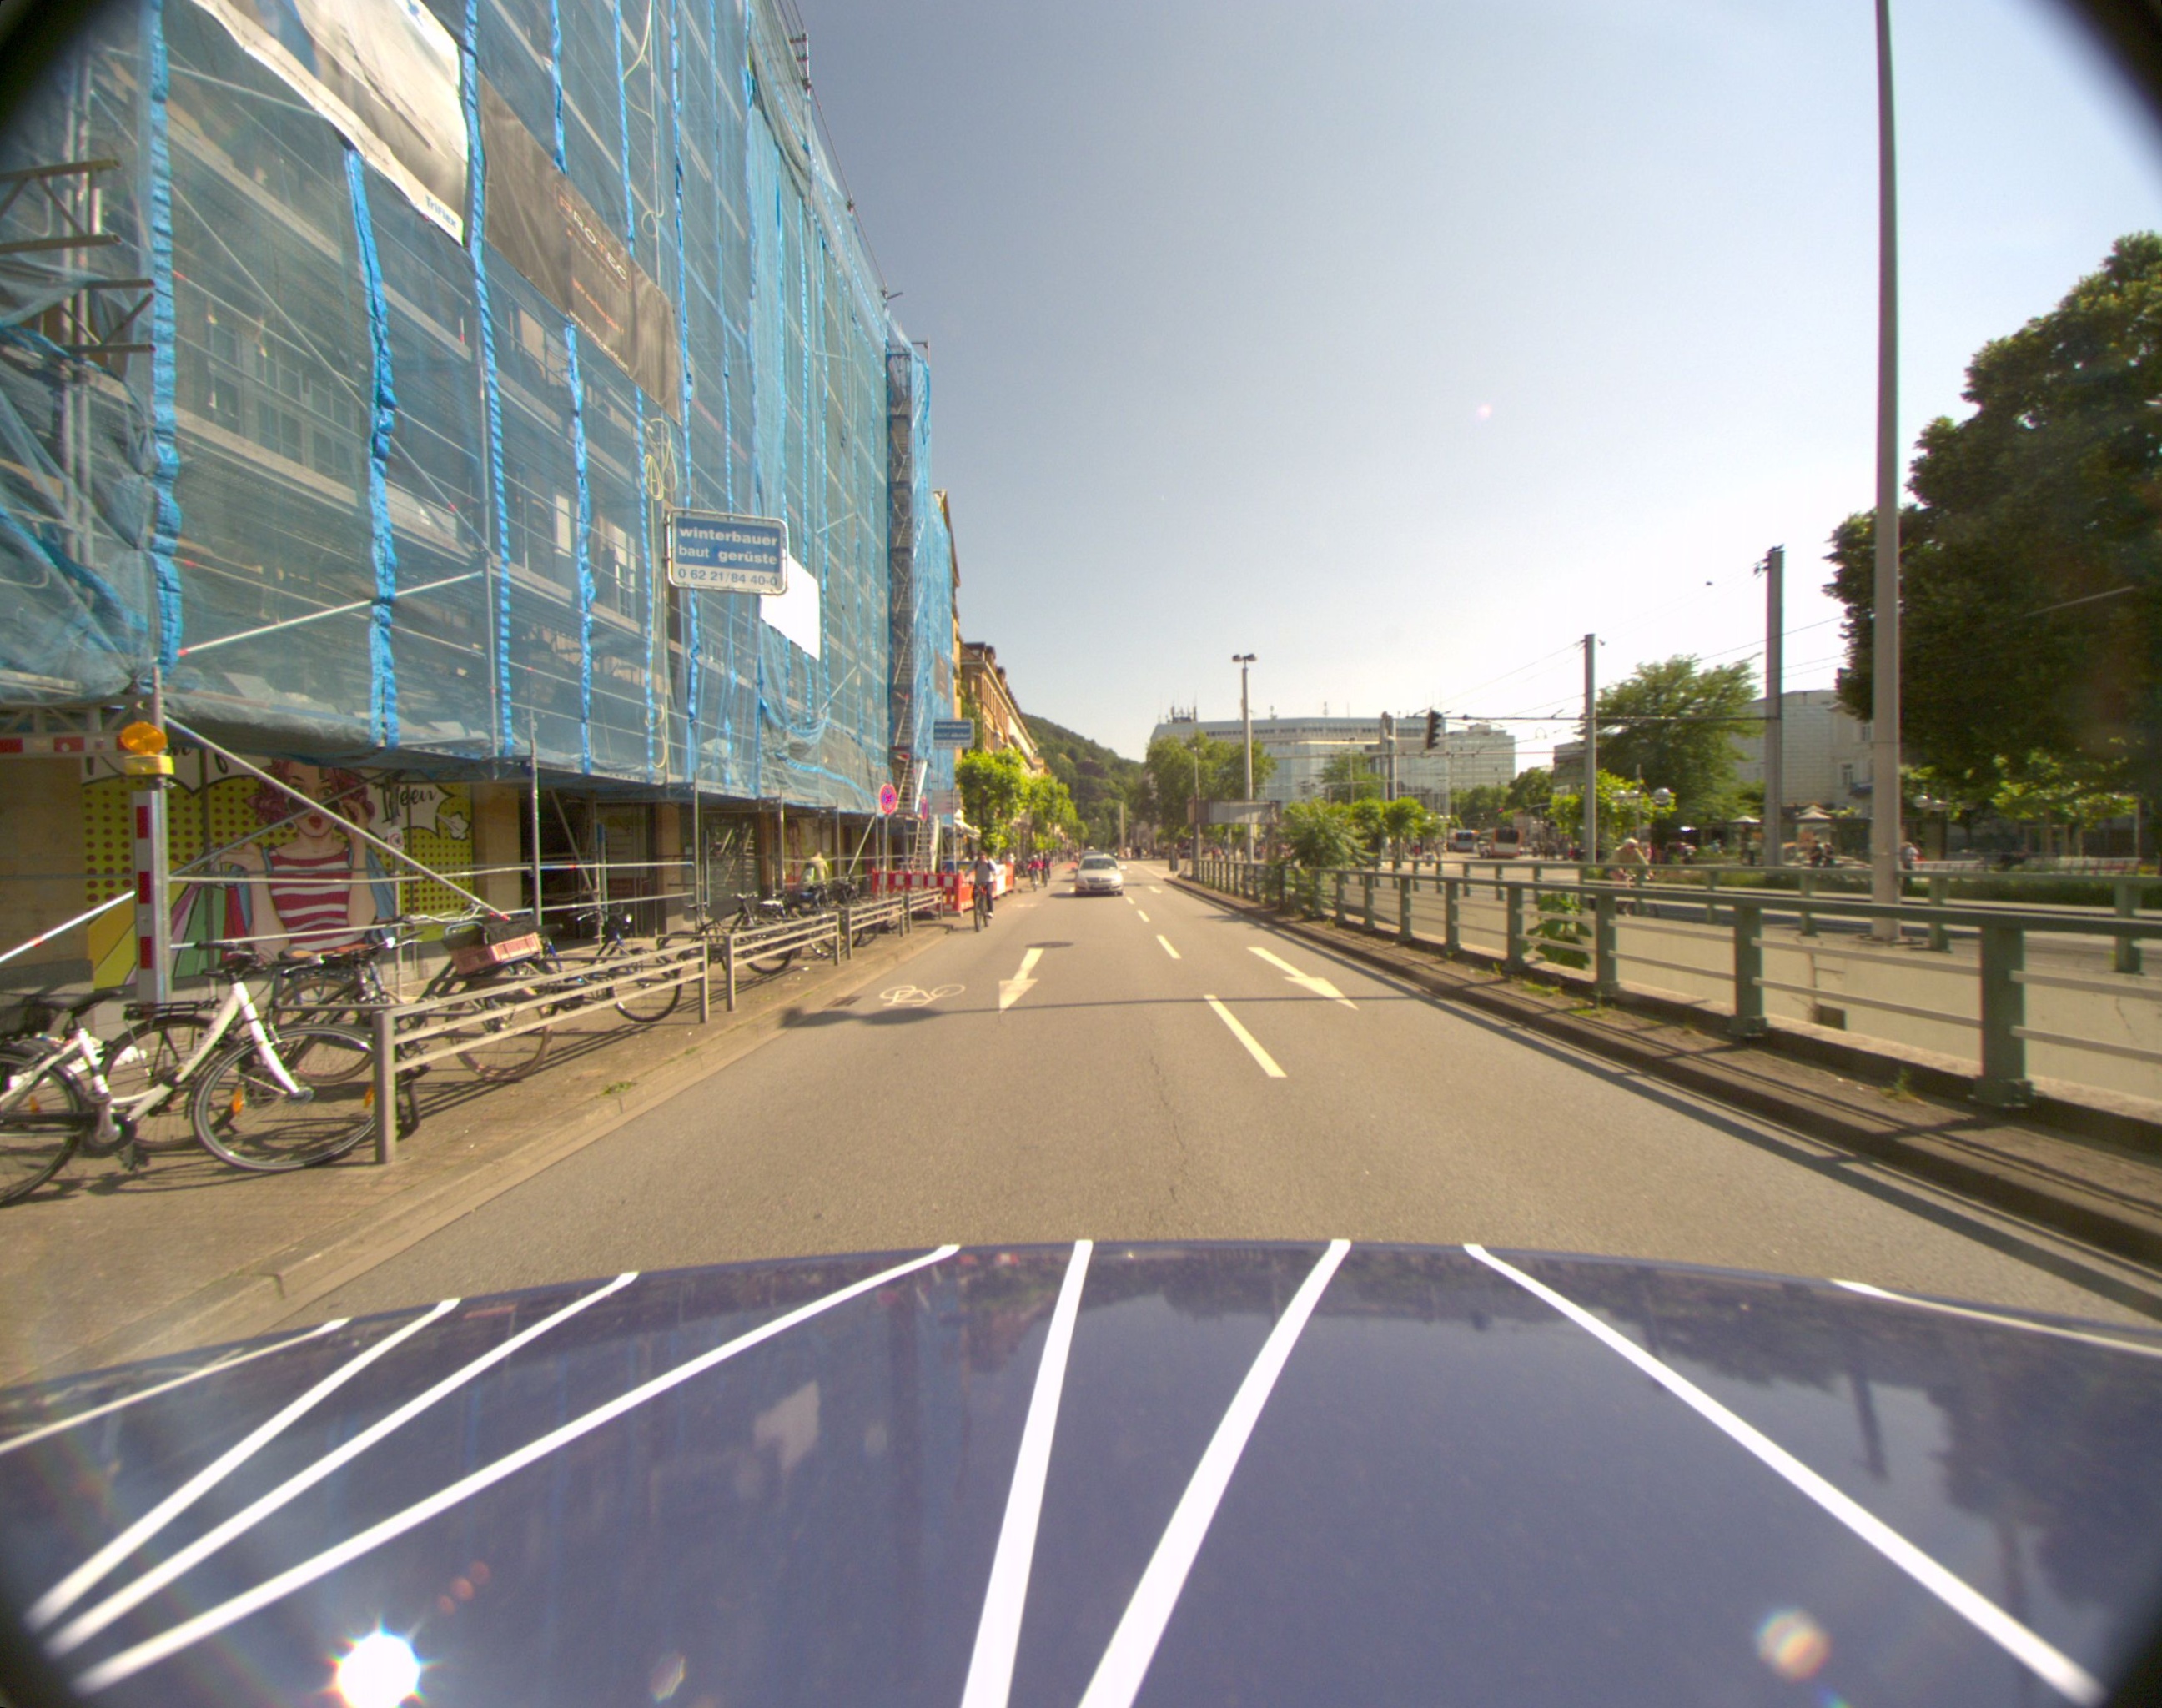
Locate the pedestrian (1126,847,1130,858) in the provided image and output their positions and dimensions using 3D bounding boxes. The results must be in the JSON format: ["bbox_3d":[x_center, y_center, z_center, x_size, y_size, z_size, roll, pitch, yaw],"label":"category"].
[{"bbox_3d":[7.480,-0.286,120.822,0.575,1.704,0.652,-3,1,0],"label":"pedestrian"}]

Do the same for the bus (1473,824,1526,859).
[{"bbox_3d":[45.546,-1.403,83.098,3.060,3.400,12.475,-2,1,20],"label":"bus"}]

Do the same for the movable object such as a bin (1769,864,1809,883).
[{"bbox_3d":[29.602,0.794,31.767,0.909,0.750,0.800,1,0,1],"label":"movable object such as a bin"}]

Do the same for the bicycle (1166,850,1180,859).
[{"bbox_3d":[11.897,0.082,98.135,1.757,1.140,0.483,-1,1,-1],"label":"bicycle"}]

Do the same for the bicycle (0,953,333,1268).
[{"bbox_3d":[-4.492,1.096,3.377,1.697,1.172,0.608,-2,1,2],"label":"bicycle"}]

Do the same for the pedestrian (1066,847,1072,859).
[{"bbox_3d":[-1.727,-0.202,108.583,0.620,1.675,0.579,-2,2,29],"label":"pedestrian"}]

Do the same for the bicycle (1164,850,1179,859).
[{"bbox_3d":[11.832,0.063,99.545,1.865,1.140,0.483,-1,1,-1],"label":"bicycle"}]

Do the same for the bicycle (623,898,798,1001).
[{"bbox_3d":[-4.383,1.121,9.066,1.743,1.103,0.608,-2,1,2],"label":"bicycle"}]

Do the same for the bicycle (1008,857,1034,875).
[{"bbox_3d":[-3.544,0.711,44.970,0.659,1.012,1.753,-2,1,-37],"label":"bicycle"}]

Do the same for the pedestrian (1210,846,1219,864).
[{"bbox_3d":[13.133,0.129,74.813,0.527,1.723,0.586,1,1,-29],"label":"pedestrian"}]

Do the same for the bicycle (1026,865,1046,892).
[{"bbox_3d":[-1.905,1.027,32.307,0.736,1.086,1.819,-2,0,0],"label":"bicycle"}]

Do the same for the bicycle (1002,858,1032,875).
[{"bbox_3d":[-3.953,0.778,46.927,1.757,1.012,0.557,-1,1,-1],"label":"bicycle"}]

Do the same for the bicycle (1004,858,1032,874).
[{"bbox_3d":[-3.991,0.762,48.231,1.757,1.012,0.483,-1,1,-2],"label":"bicycle"}]

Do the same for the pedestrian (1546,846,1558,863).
[{"bbox_3d":[43.274,0.048,69.758,0.625,1.457,0.680,1,0,-4],"label":"pedestrian"}]

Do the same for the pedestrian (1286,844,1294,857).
[{"bbox_3d":[23.358,-0.405,84.813,0.626,1.457,0.552,1,1,-21],"label":"pedestrian"}]

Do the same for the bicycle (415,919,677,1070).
[{"bbox_3d":[-4.378,1.135,6.288,1.697,1.081,0.608,-2,1,2],"label":"bicycle"}]

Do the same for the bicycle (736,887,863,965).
[{"bbox_3d":[-4.371,1.109,11.861,1.697,1.091,0.608,-2,1,2],"label":"bicycle"}]

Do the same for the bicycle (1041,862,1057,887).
[{"bbox_3d":[-1.500,0.945,36.118,0.667,1.086,1.897,-3,1,-1],"label":"bicycle"}]

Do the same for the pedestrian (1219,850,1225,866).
[{"bbox_3d":[13.843,0.392,74.805,0.525,1.600,0.627,2,1,10],"label":"pedestrian"}]

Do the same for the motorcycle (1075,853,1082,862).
[{"bbox_3d":[-0.349,0.436,95.835,0.736,1.086,1.897,-3,1,2],"label":"motorcycle"}]

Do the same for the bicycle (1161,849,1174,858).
[{"bbox_3d":[11.727,-0.035,103.138,1.757,1.140,0.483,-1,1,-1],"label":"bicycle"}]

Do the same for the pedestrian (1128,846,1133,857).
[{"bbox_3d":[8.120,-0.442,124.983,0.639,1.737,0.733,-3,1,0],"label":"pedestrian"}]

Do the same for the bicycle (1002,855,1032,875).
[{"bbox_3d":[-3.876,0.682,46.347,1.757,1.174,0.579,-1,1,-1],"label":"bicycle"}]

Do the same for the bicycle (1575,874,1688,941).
[{"bbox_3d":[10.559,0.994,14.670,0.819,1.114,1.874,2,1,1],"label":"bicycle"}]

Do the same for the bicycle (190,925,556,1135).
[{"bbox_3d":[-4.540,1.111,4.945,1.775,1.172,0.608,-2,1,2],"label":"bicycle"}]

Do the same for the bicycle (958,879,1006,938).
[{"bbox_3d":[-2.099,1.138,16.337,0.736,1.086,1.897,-3,1,0],"label":"bicycle"}]

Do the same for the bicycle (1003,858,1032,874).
[{"bbox_3d":[-3.971,0.757,47.599,1.757,1.012,0.587,0,1,-1],"label":"bicycle"}]

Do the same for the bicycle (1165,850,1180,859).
[{"bbox_3d":[11.871,0.061,98.637,1.757,1.140,0.483,-1,1,-1],"label":"bicycle"}]

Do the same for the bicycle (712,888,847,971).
[{"bbox_3d":[-4.416,1.098,11.197,1.697,1.091,0.608,-2,1,2],"label":"bicycle"}]

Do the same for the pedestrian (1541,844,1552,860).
[{"bbox_3d":[43.333,-0.171,70.720,0.625,1.457,0.680,1,0,-2],"label":"pedestrian"}]

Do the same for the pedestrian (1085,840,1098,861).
[{"bbox_3d":[0.984,-0.338,71.555,0.897,1.996,0.678,-2,1,-43],"label":"pedestrian"}]

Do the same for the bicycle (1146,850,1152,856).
[{"bbox_3d":[13.185,-0.143,146.831,0.729,1.137,1.914,-3,1,15],"label":"bicycle"}]

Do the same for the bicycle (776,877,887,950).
[{"bbox_3d":[-4.352,1.028,13.318,1.697,1.172,0.608,-2,1,2],"label":"bicycle"}]

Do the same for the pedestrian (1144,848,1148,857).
[{"bbox_3d":[12.615,-0.299,147.222,0.732,1.660,0.640,-2,1,15],"label":"pedestrian"}]

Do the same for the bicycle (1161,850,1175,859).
[{"bbox_3d":[11.626,0.051,101.214,1.757,1.140,0.483,-1,1,-1],"label":"bicycle"}]

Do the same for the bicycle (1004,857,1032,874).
[{"bbox_3d":[-4.046,0.729,48.858,1.757,1.012,0.483,-1,1,-1],"label":"bicycle"}]

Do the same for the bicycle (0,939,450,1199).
[{"bbox_3d":[-4.491,1.101,4.053,1.697,1.172,0.608,-2,1,2],"label":"bicycle"}]

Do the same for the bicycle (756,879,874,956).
[{"bbox_3d":[-4.407,1.041,12.636,1.697,1.172,0.608,-2,1,2],"label":"bicycle"}]

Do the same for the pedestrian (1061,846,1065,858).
[{"bbox_3d":[-2.620,-0.240,109.424,0.578,1.675,0.775,-3,1,-2],"label":"pedestrian"}]
